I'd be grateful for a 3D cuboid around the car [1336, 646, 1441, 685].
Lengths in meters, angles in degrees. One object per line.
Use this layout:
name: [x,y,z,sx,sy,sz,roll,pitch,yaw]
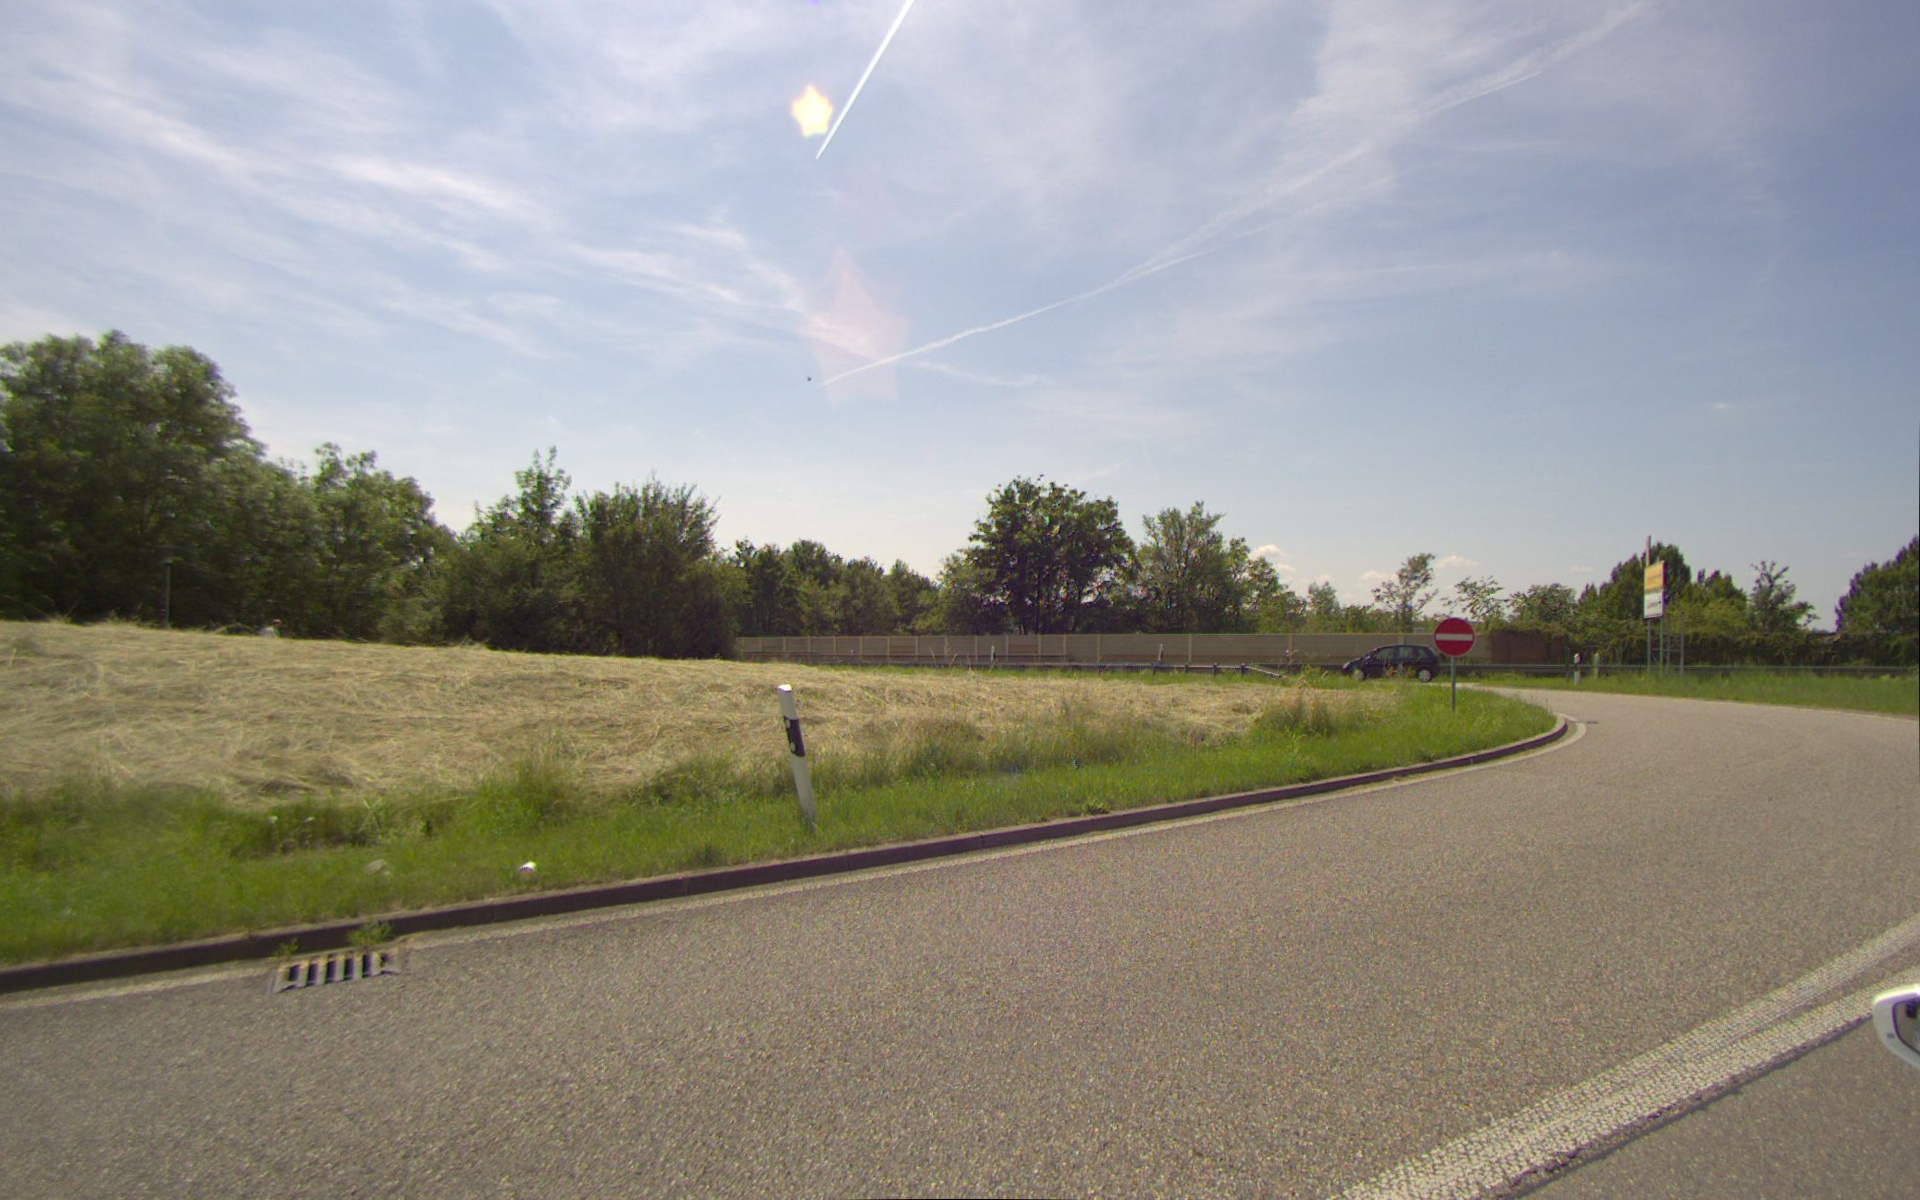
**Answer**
car: [18.434,2.777,43.229,4.032,1.559,1.753,-1,-2,29]
